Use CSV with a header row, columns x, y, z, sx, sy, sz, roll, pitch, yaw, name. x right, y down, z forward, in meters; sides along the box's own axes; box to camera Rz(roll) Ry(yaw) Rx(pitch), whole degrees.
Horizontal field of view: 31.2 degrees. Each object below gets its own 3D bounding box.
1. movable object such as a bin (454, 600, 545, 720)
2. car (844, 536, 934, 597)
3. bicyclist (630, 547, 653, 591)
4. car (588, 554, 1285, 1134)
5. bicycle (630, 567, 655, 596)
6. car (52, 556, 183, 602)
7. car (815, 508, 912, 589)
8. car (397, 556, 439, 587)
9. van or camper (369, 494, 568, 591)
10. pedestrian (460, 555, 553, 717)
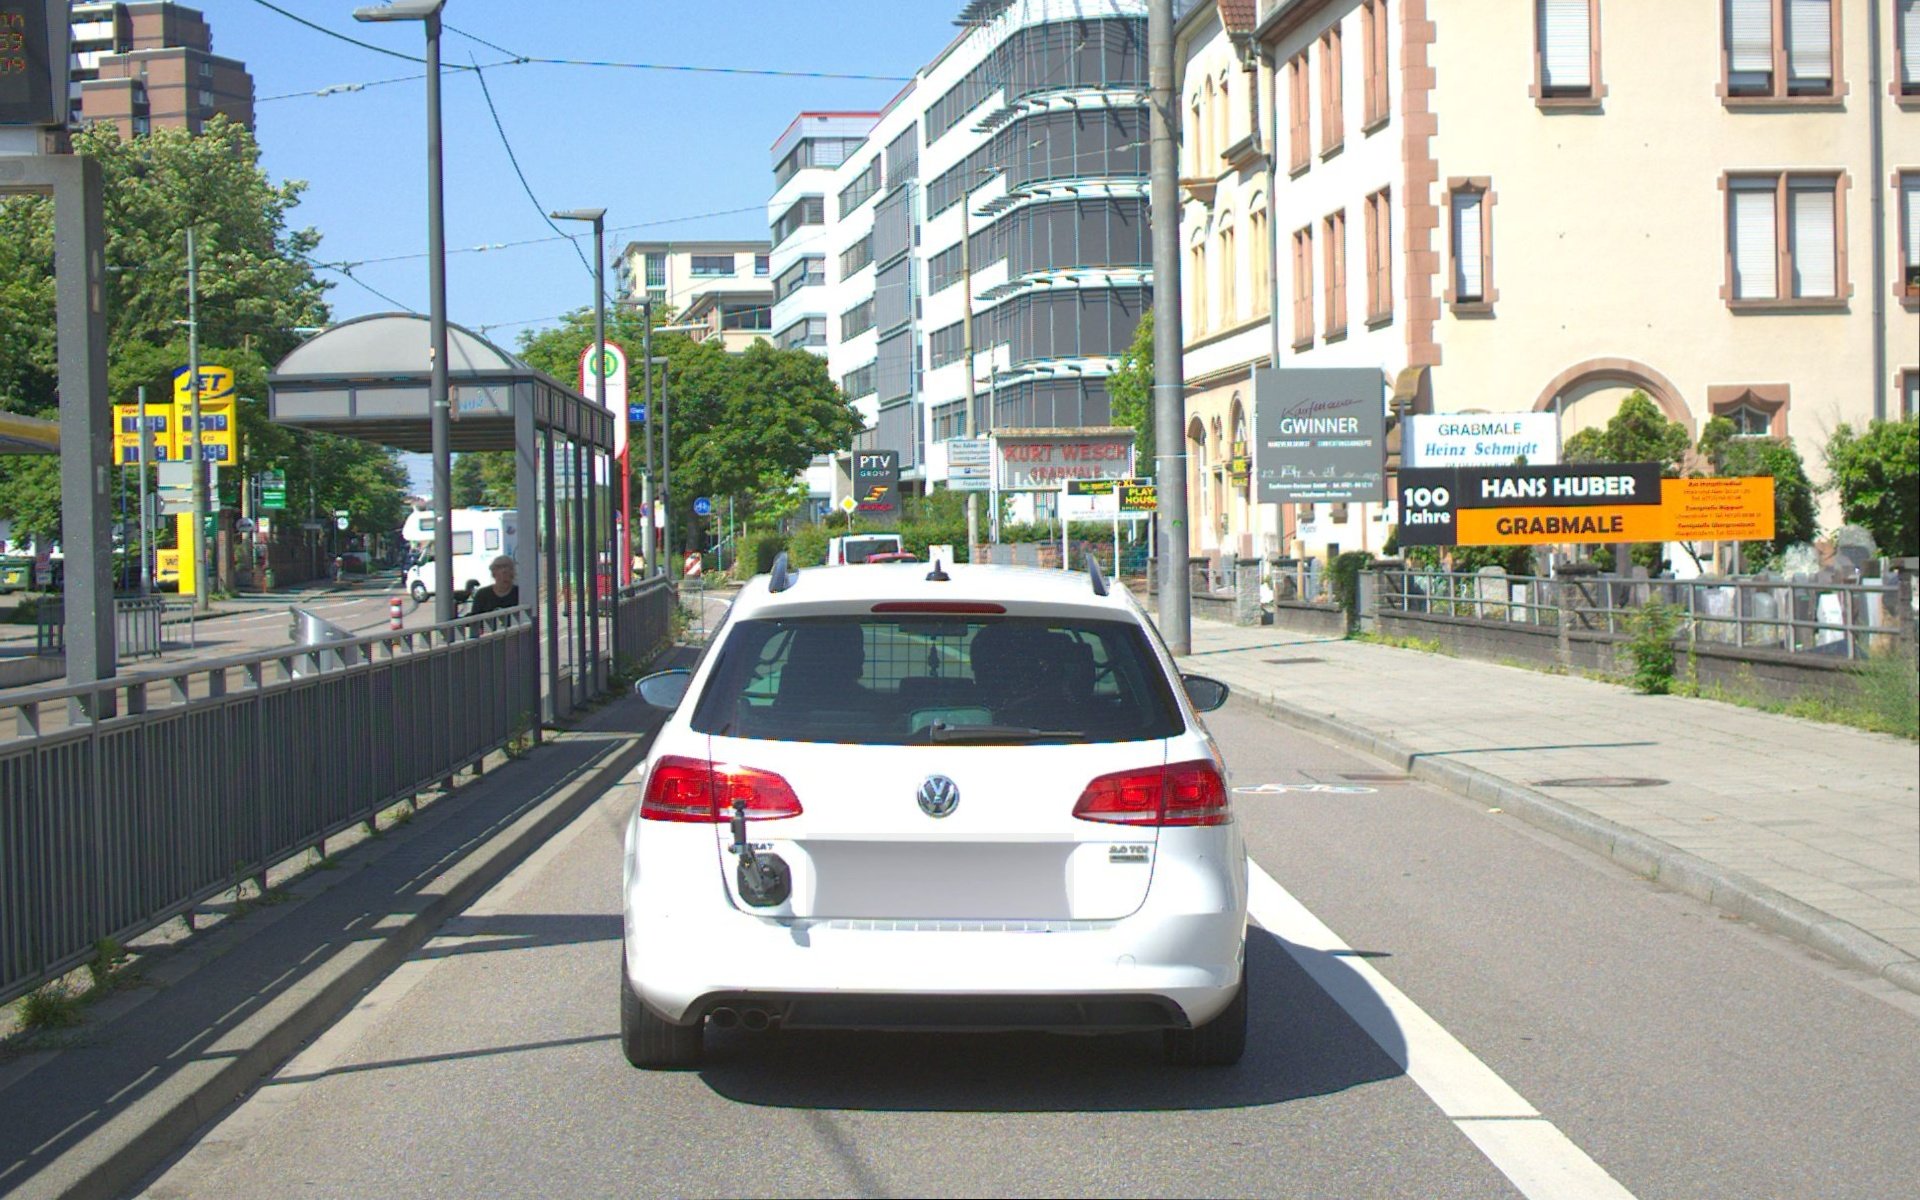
x,y,z,sx,sy,sz,roll,pitch,yaw,name
-3.576,0.464,26.746,0.629,0.897,0.489,-2,1,-2,movable object such as a bin
-1.832,-0.848,87.452,1.721,1.438,4.313,-3,1,-8,car
-11.755,-1.144,126.750,0.785,1.623,0.738,1,0,-8,bicyclist
-0.128,0.592,10.921,1.753,1.437,4.413,1,1,-2,car
-11.736,-0.687,126.908,0.811,1.074,2.012,-1,1,-8,bicycle
-31.455,-0.792,128.420,1.947,1.619,4.569,0,1,36,car
-2.663,-1.396,93.899,1.976,2.047,5.192,-3,1,-8,car
-29.018,-1.523,184.129,1.746,1.566,3.892,-2,0,-3,car
-15.868,-1.870,110.806,6.708,2.957,2.610,2,0,42,van or camper
-3.603,0.279,27.337,0.629,1.250,0.710,-2,1,-2,pedestrian
